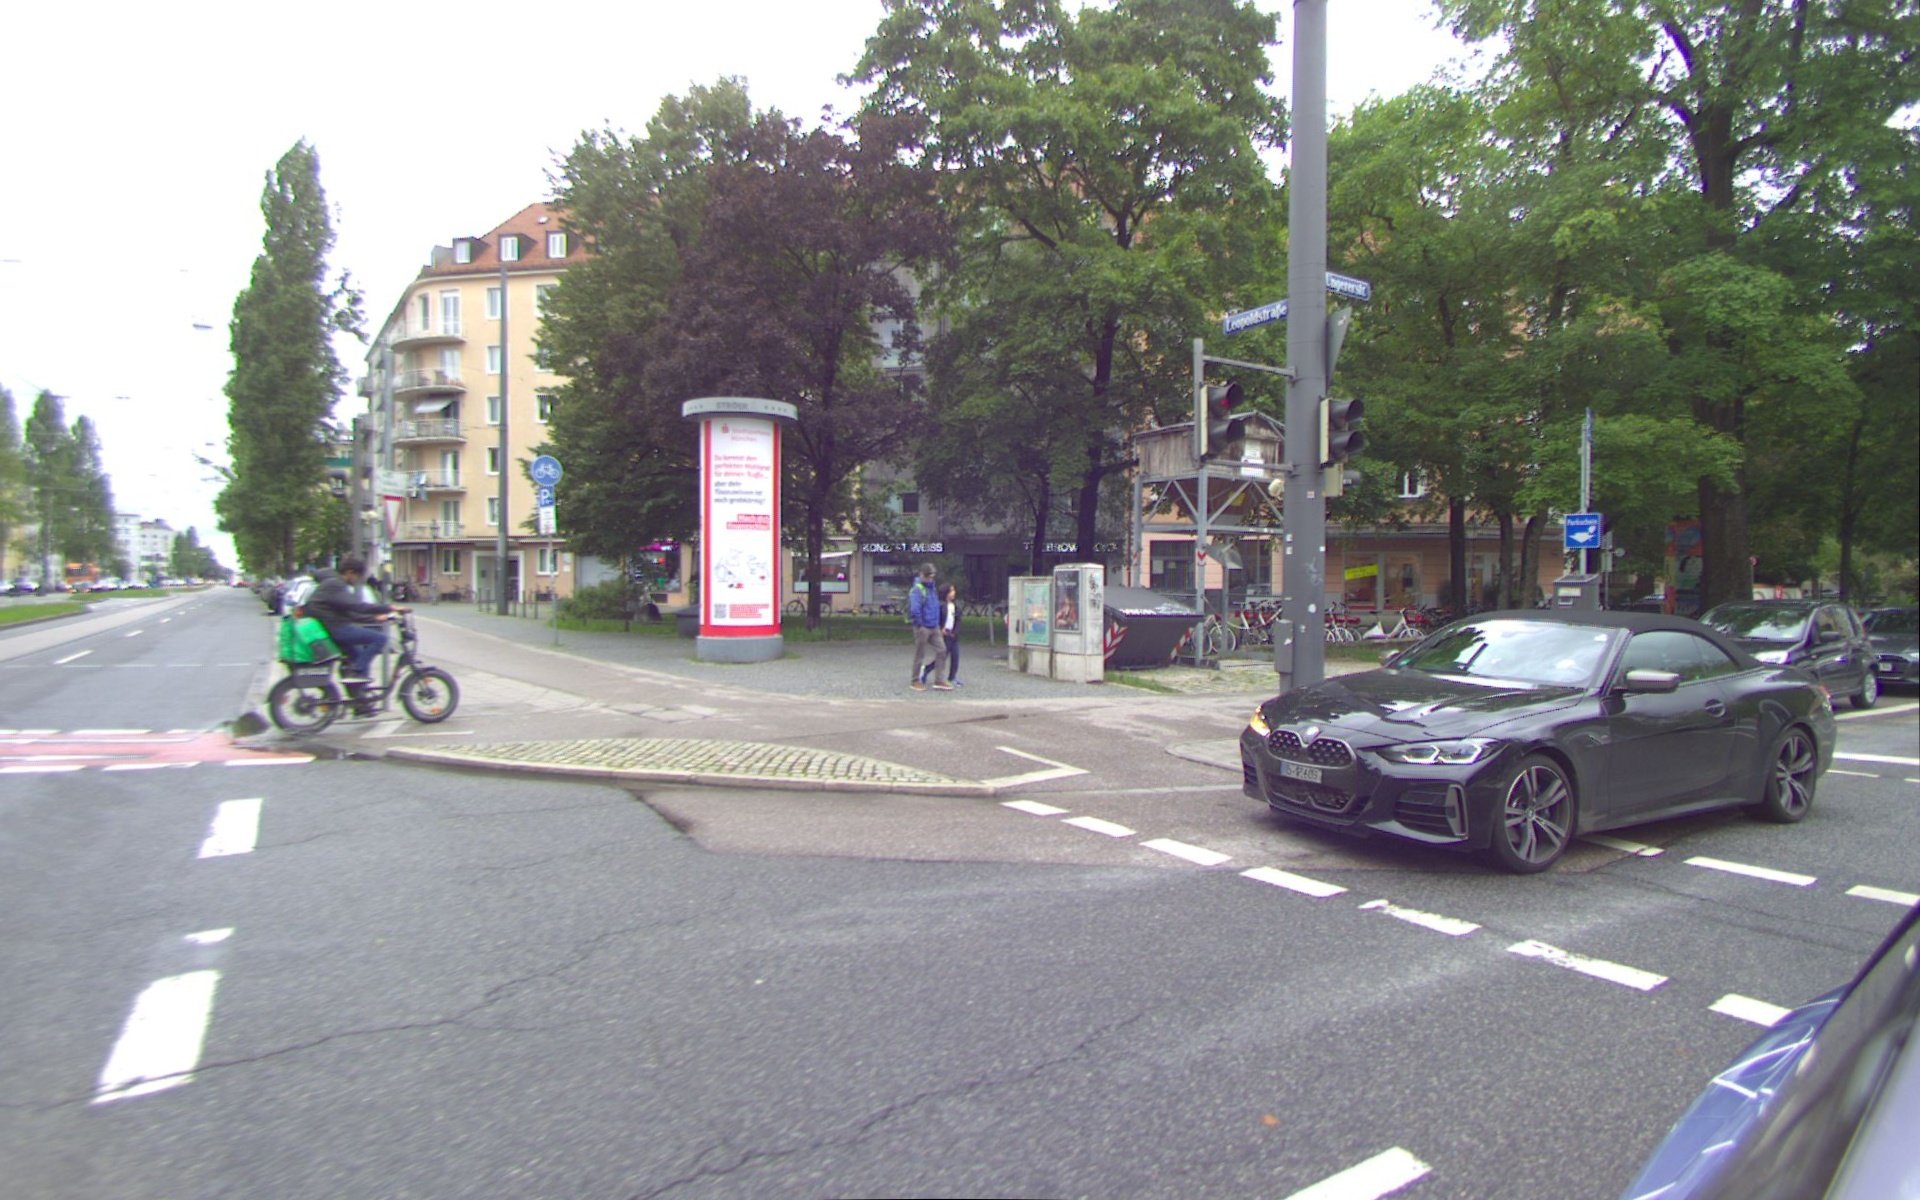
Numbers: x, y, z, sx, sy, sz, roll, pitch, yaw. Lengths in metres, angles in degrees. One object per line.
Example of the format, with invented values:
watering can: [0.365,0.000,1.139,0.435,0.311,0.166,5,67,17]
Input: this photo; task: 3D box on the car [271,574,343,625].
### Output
car: [-20.010,-0.063,30.939,1.698,1.424,4.375,0,1,-35]

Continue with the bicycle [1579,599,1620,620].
bicycle: [22.785,0.348,36.060,1.161,0.733,0.318,-1,0,14]

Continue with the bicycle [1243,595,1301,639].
bicycle: [6.666,0.354,21.681,0.307,0.905,1.415,-1,0,-24]

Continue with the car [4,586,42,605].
car: [-77.248,-0.399,83.482,1.753,1.504,4.140,-1,2,-35]

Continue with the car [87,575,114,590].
car: [-92.932,-1.890,109.435,1.753,1.504,4.140,-1,2,-35]

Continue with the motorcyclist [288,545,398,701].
motorcyclist: [-6.111,0.211,10.020,0.865,1.461,0.620,-1,-1,-36]

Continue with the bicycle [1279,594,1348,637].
bicycle: [7.665,0.331,21.967,0.308,0.905,1.408,-1,0,-44]

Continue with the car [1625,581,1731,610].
car: [39.378,-0.248,55.598,1.822,1.485,4.451,-1,0,-21]

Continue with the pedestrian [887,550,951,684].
pedestrian: [-0.548,0.201,13.410,0.535,1.680,0.722,-1,5,-32]

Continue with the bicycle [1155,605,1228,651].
bicycle: [4.606,0.560,20.145,1.384,0.905,0.313,0,-1,-5]

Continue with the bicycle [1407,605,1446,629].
bicycle: [14.482,0.514,31.453,0.312,0.733,1.181,-1,0,-22]

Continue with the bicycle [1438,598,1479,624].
bicycle: [14.929,0.328,30.313,0.312,0.733,1.181,-1,0,-22]

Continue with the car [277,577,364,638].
car: [-16.641,0.123,26.242,1.698,1.424,4.375,0,1,-35]

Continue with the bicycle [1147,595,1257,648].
bicycle: [4.908,0.433,20.702,0.620,1.029,2.235,-1,0,-41]

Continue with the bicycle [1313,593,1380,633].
bicycle: [8.913,0.300,23.357,1.396,0.905,0.311,-1,0,23]

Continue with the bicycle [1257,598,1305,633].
bicycle: [8.671,0.410,27.346,1.383,0.905,0.314,-1,0,-25]

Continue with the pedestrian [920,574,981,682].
pedestrian: [-0.136,0.361,13.869,0.535,1.421,0.722,-1,3,-32]

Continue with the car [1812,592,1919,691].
car: [16.239,0.619,16.941,4.551,1.479,1.774,0,1,-33]

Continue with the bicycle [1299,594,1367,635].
bicycle: [8.332,0.314,22.655,1.402,0.905,0.309,0,1,34]

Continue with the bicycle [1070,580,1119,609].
bicycle: [6.323,-0.247,47.665,2.209,1.306,0.506,-1,0,6]

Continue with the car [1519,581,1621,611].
car: [32.407,-0.212,53.895,1.822,1.485,4.451,-1,0,-21]

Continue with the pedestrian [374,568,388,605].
pedestrian: [-31.948,-0.729,55.821,0.537,2.039,0.630,-1,-1,-40]

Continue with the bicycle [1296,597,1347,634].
bicycle: [9.257,0.400,25.898,1.383,0.905,0.314,-1,0,-25]

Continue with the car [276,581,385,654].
car: [-13.011,0.282,20.828,1.698,1.332,4.000,0,1,-35]

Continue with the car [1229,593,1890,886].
car: [4.204,0.675,6.889,4.702,1.407,1.732,0,1,-29]

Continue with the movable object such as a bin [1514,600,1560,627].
movable object such as a bin: [20.179,0.465,35.413,0.758,0.883,1.183,0,1,-23]

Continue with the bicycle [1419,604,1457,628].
bicycle: [15.155,0.497,32.091,0.312,0.733,1.181,-1,0,-22]

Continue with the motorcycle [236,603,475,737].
motorcycle: [-5.992,0.644,10.100,1.991,1.184,0.630,-1,0,-36]

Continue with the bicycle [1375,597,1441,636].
bicycle: [10.712,0.405,24.224,1.396,0.905,0.311,-1,0,23]

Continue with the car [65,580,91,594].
car: [-100.698,-1.460,115.543,1.753,1.504,4.140,-1,2,-35]

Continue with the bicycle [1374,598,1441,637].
bicycle: [10.442,0.412,23.634,1.396,0.905,0.311,-1,0,23]

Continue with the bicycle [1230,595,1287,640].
bicycle: [6.330,0.362,21.510,0.307,0.905,1.415,-1,0,-24]

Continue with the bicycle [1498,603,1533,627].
bicycle: [17.077,0.457,31.143,0.313,0.733,1.180,-1,0,-5]

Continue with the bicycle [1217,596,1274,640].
bicycle: [6.024,0.369,21.383,0.307,0.905,1.415,-1,0,-24]

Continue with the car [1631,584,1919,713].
car: [11.703,0.570,14.349,4.463,1.568,1.839,0,1,-30]

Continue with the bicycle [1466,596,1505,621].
bicycle: [15.795,0.255,30.405,1.154,0.733,0.319,-1,0,-20]

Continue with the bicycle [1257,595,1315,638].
bicycle: [7.004,0.346,21.814,0.307,0.905,1.415,-1,0,-24]

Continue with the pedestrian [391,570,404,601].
pedestrian: [-30.950,-0.780,55.678,0.537,1.686,0.651,-1,-1,-40]

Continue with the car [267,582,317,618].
car: [-28.678,-0.051,43.388,1.698,1.424,4.475,0,1,-35]
